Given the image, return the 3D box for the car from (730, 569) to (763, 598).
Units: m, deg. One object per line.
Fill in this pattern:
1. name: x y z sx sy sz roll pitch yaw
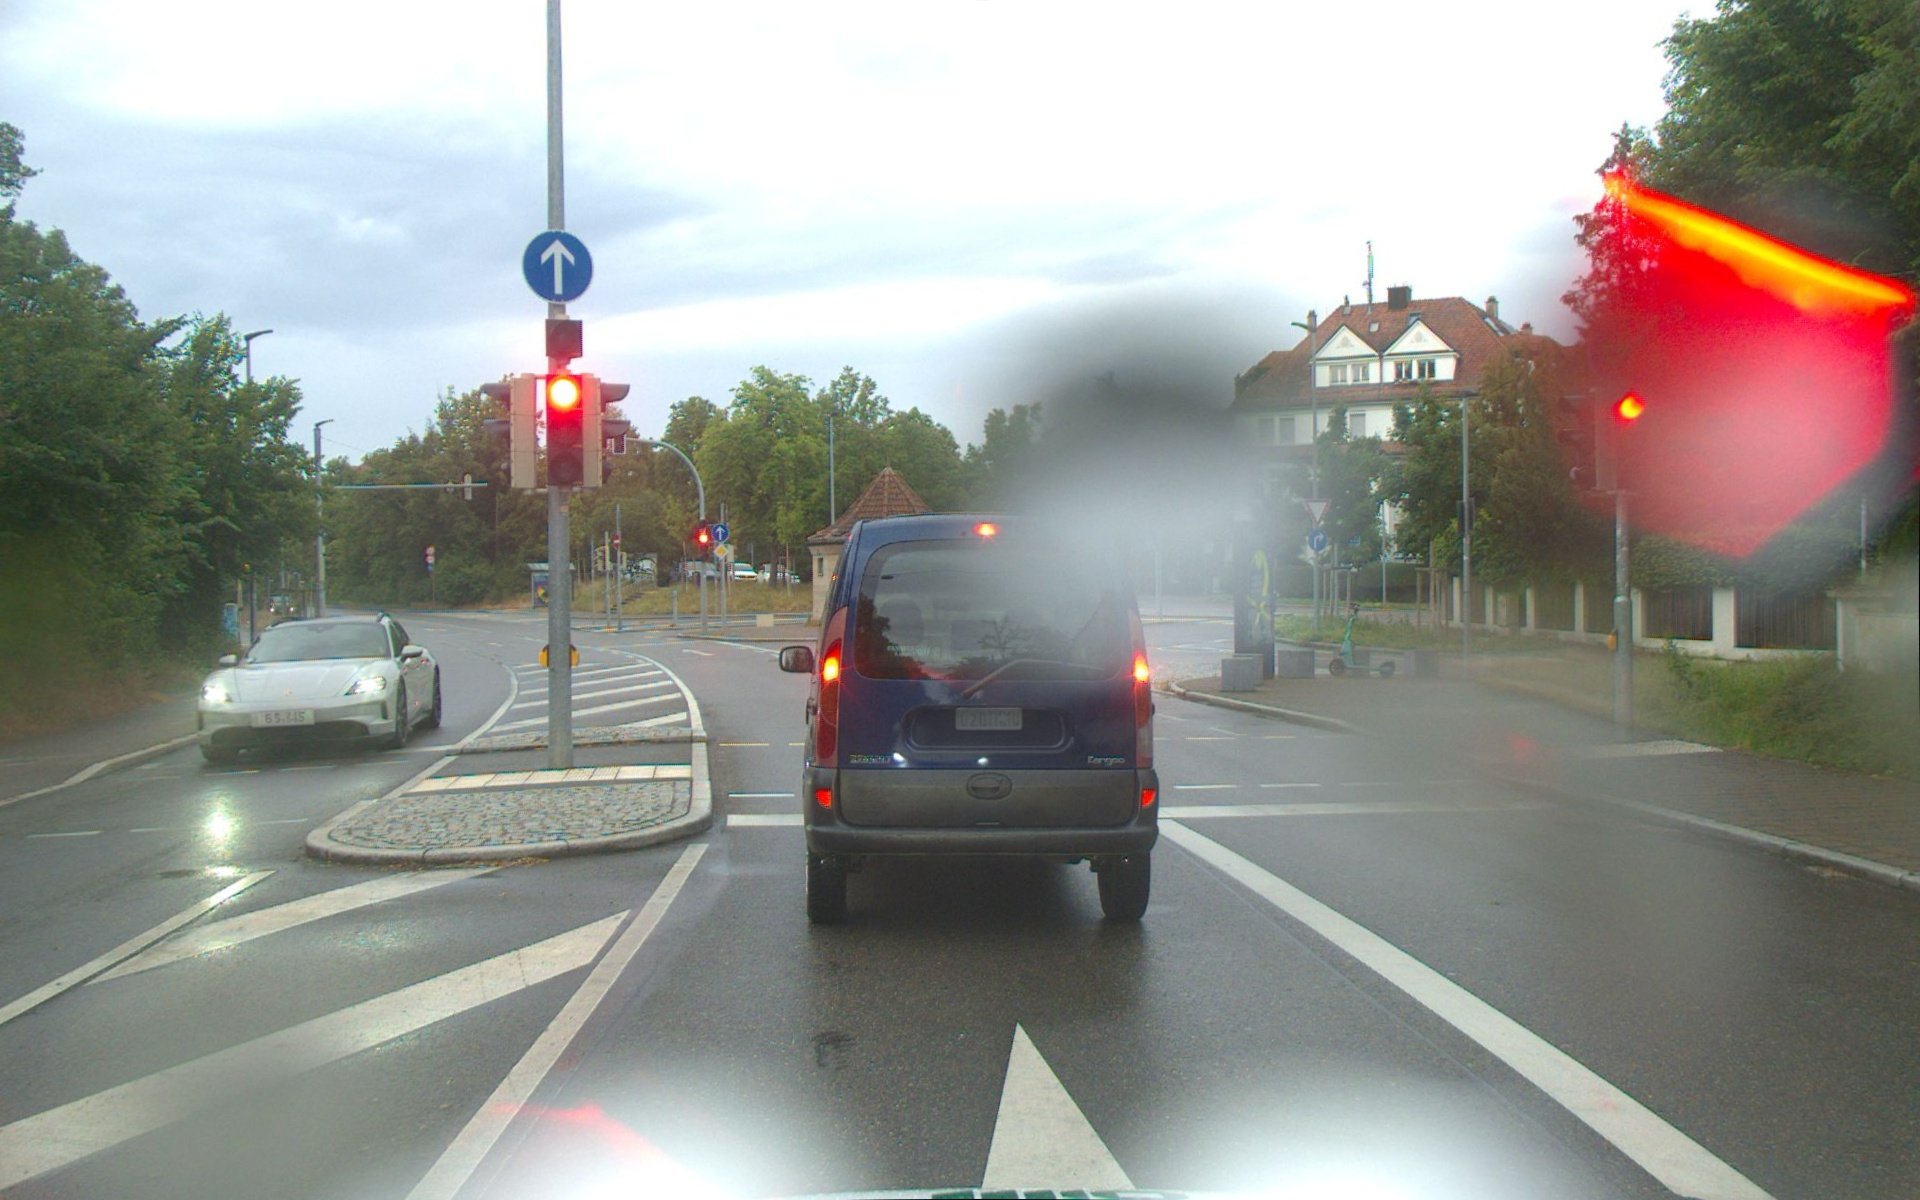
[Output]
1. car: -14.127 -1.107 109.698 1.954 1.844 3.996 0 -1 -4

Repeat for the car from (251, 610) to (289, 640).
1. car: -47.793 1.695 114.527 1.973 2.049 3.959 0 -1 -30

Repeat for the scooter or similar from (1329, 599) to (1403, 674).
1. scooter or similar: 6.839 0.606 27.856 1.125 1.240 0.405 -1 -1 -2

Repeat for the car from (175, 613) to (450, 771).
1. car: -6.924 0.900 18.178 1.958 1.334 4.348 -3 1 -11

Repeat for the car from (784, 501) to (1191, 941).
1. car: 0.031 0.485 8.882 1.697 1.817 3.998 0 0 -3
